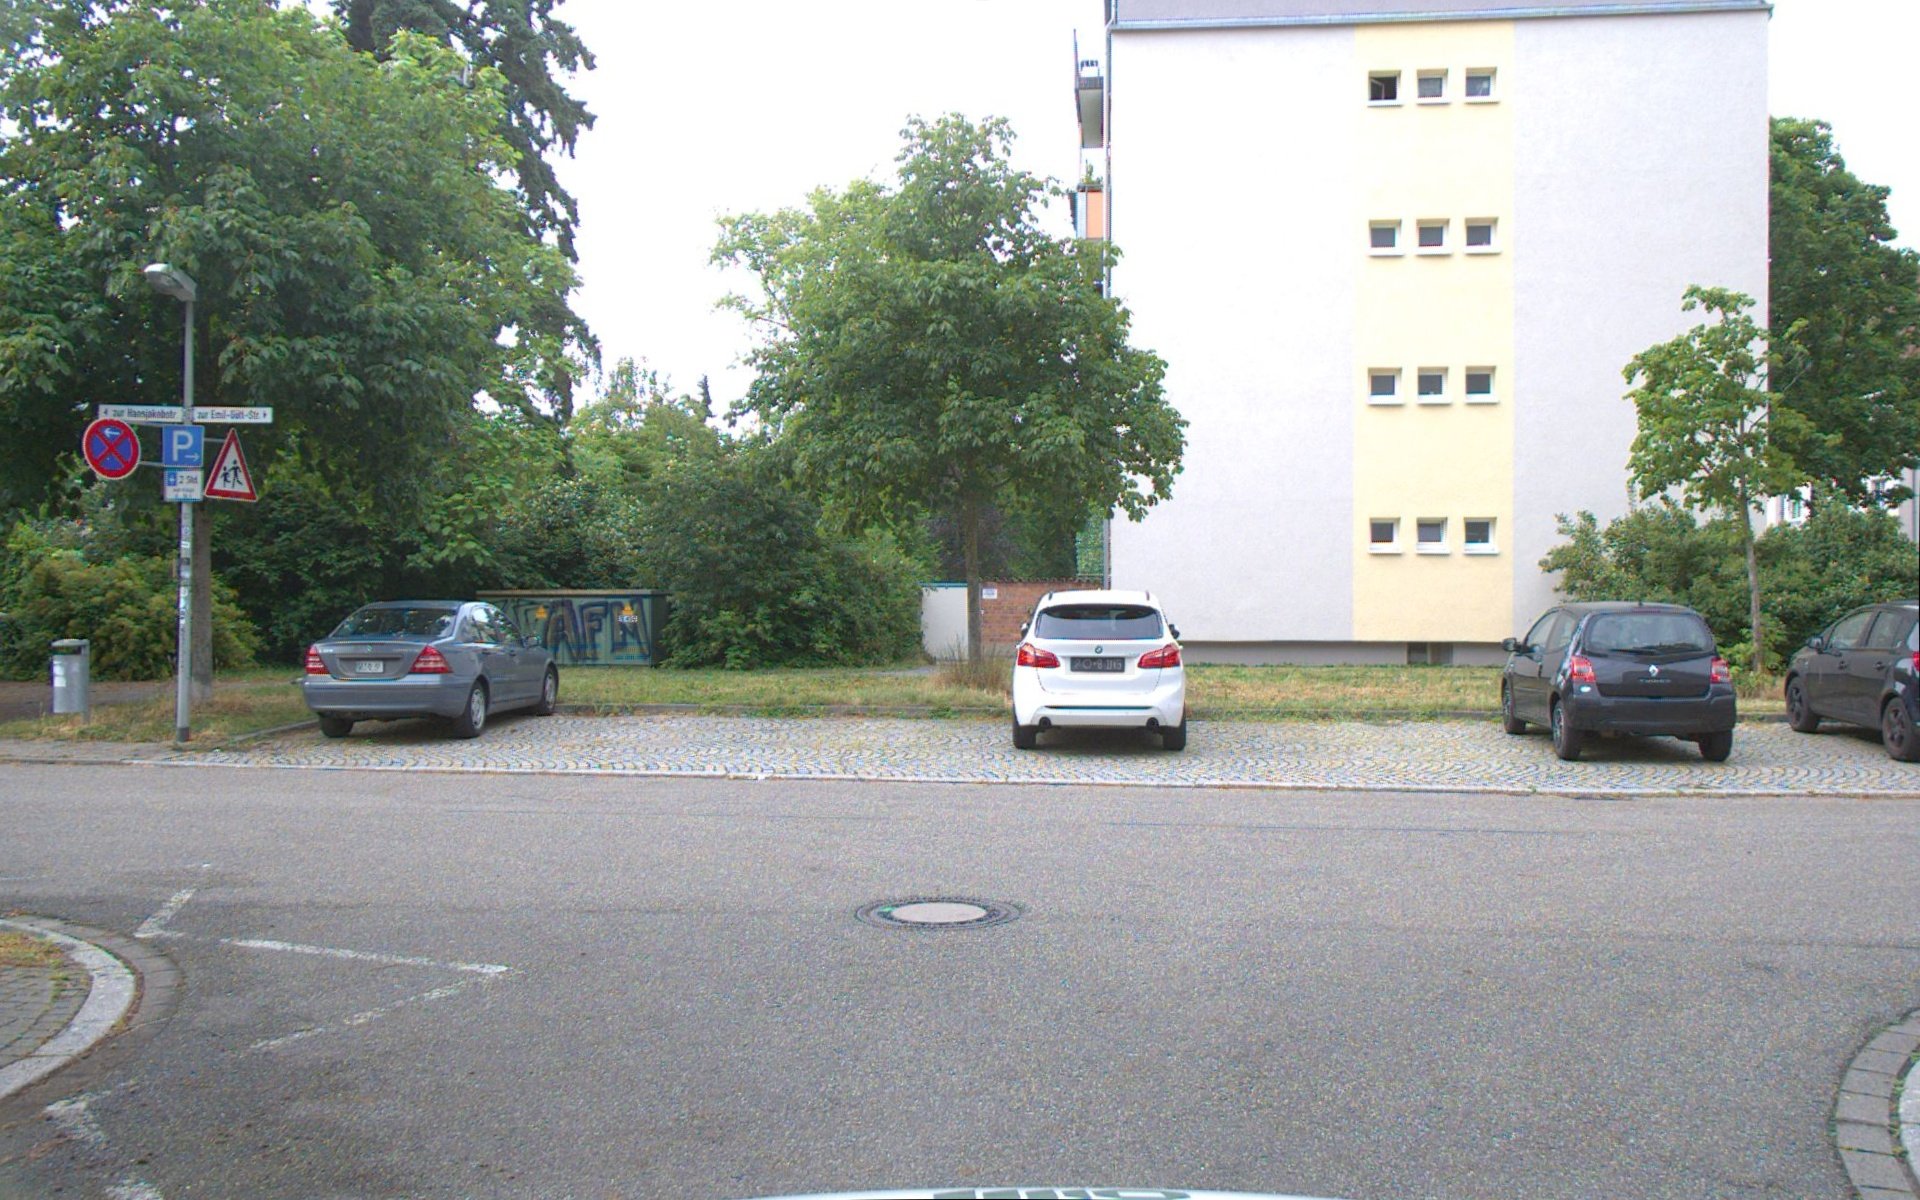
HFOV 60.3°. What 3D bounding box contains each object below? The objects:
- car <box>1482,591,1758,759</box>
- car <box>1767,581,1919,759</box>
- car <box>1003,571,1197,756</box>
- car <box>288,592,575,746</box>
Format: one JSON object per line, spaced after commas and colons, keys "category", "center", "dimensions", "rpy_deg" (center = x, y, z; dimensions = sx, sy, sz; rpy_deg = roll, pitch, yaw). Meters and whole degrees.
{"category": "car", "center": [6.785, 0.672, 17.513], "dimensions": [1.796, 1.489, 4.564], "rpy_deg": [0, 1, 10]}
{"category": "car", "center": [9.933, 0.613, 16.989], "dimensions": [1.796, 1.593, 4.361], "rpy_deg": [0, 1, 10]}
{"category": "car", "center": [1.561, 0.576, 17.993], "dimensions": [1.838, 1.587, 4.153], "rpy_deg": [1, 3, 6]}
{"category": "car", "center": [-5.750, 0.670, 18.607], "dimensions": [1.640, 1.480, 4.561], "rpy_deg": [0, 1, 2]}
